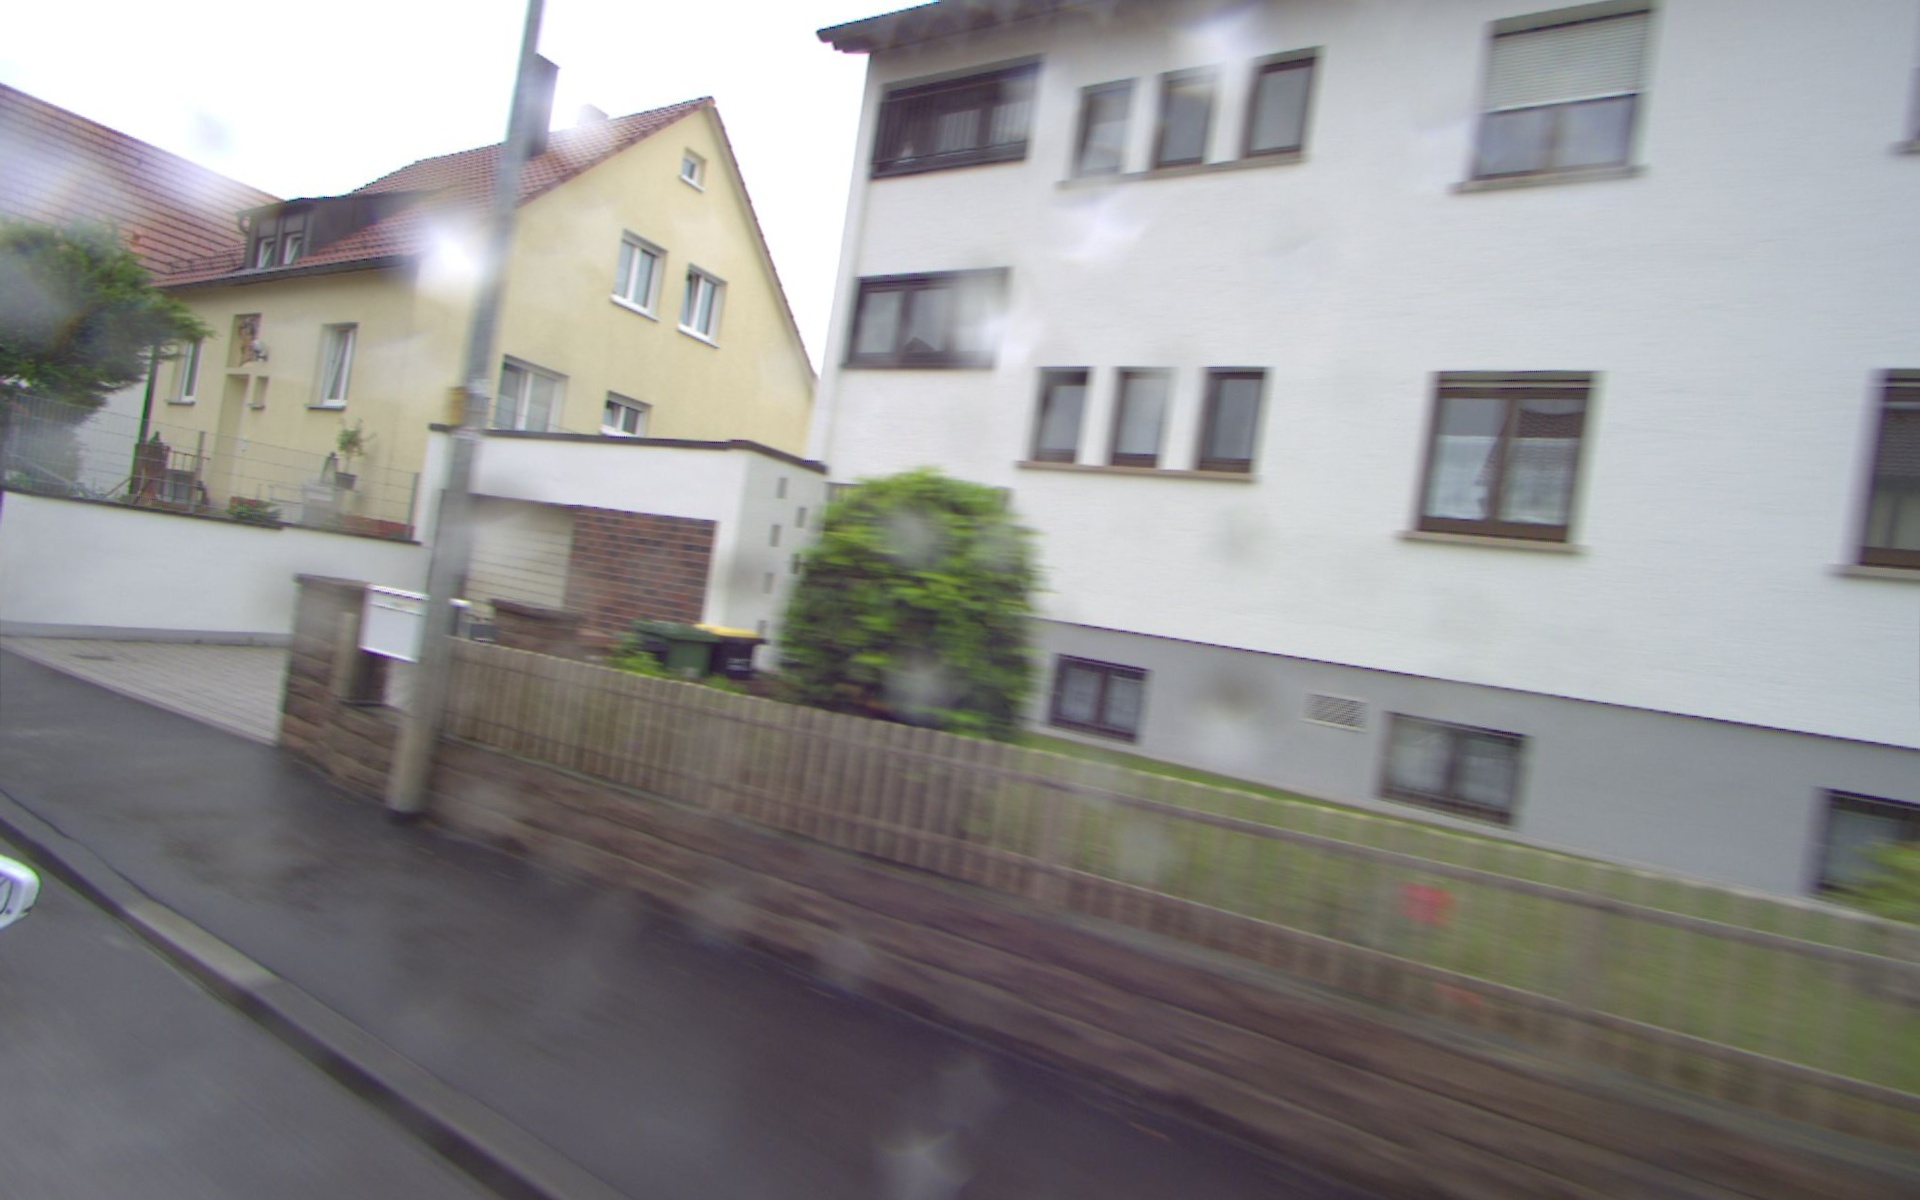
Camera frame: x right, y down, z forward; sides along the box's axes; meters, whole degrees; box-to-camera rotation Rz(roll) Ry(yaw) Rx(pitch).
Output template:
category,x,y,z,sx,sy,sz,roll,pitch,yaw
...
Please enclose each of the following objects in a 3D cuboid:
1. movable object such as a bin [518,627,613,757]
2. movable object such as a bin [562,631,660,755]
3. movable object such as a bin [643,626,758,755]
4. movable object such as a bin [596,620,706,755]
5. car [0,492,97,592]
category,x,y,z,sx,sy,sz,roll,pitch,yaw
movable object such as a bin,-3.218,0.754,8.215,0.412,0.972,0.406,10,-1,32
movable object such as a bin,-2.974,0.800,8.597,0.435,0.972,0.472,10,-1,32
movable object such as a bin,-2.458,0.868,9.554,0.618,1.085,0.652,10,-1,32
movable object such as a bin,-2.776,0.793,9.051,0.618,1.085,0.499,10,-1,32
car,-17.012,-1.151,16.796,1.710,1.540,3.499,8,-1,32
